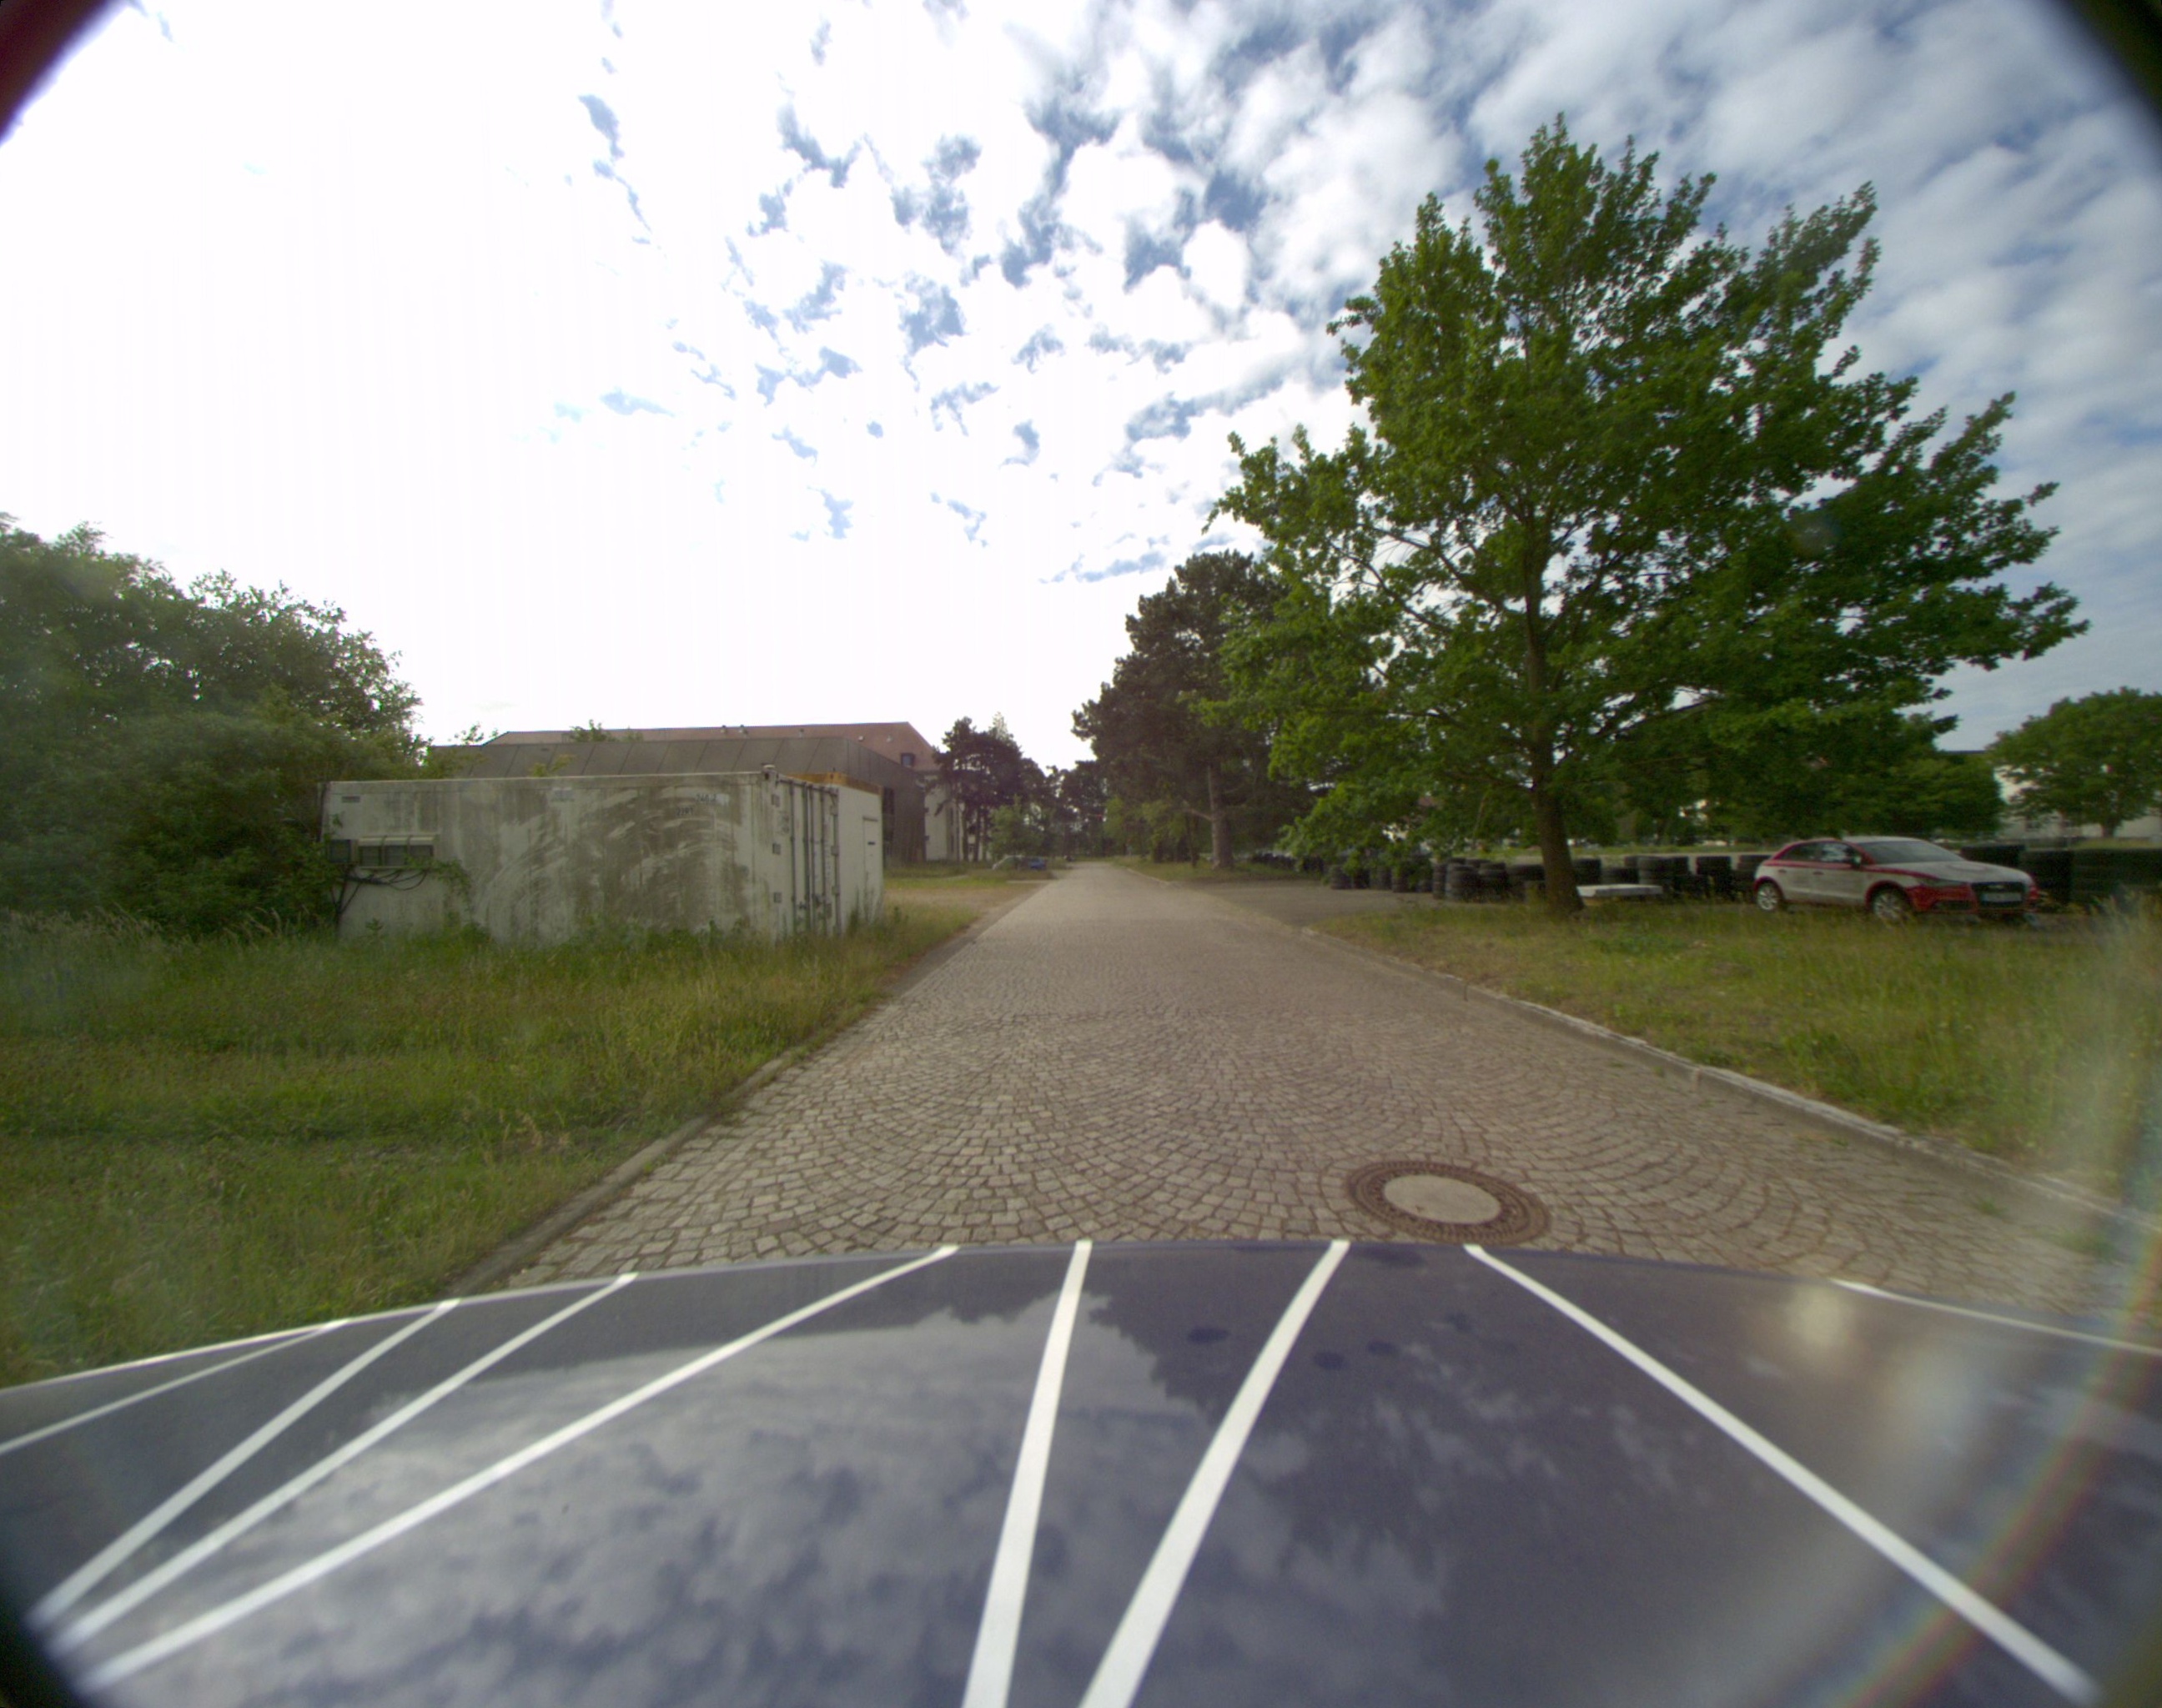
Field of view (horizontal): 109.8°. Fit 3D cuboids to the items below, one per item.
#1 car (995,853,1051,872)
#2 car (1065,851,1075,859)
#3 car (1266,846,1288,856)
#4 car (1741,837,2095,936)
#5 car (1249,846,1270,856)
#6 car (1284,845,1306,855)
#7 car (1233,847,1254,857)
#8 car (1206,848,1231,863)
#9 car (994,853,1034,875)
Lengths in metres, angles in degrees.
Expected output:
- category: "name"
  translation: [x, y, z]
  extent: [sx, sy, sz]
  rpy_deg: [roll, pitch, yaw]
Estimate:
- category: "car"
  translation: [-4.728, 0.687, 62.496]
  extent: [4.537, 1.441, 1.931]
  rpy_deg: [1, 0, -1]
- category: "car"
  translation: [-2.635, 0.255, 178.006]
  extent: [1.999, 1.777, 3.998]
  rpy_deg: [-1, 0, -5]
- category: "car"
  translation: [29.465, -0.473, 114.520]
  extent: [1.999, 1.441, 4.451]
  rpy_deg: [-1, 0, -3]
- category: "car"
  translation: [14.116, 0.476, 13.275]
  extent: [1.827, 1.423, 4.220]
  rpy_deg: [-1, 0, 6]
- category: "car"
  translation: [26.882, -0.395, 114.450]
  extent: [1.999, 1.441, 4.451]
  rpy_deg: [-1, 0, -3]
- category: "car"
  translation: [32.352, -0.568, 115.017]
  extent: [1.999, 1.441, 4.451]
  rpy_deg: [-1, 0, -3]
- category: "car"
  translation: [24.370, -0.312, 113.998]
  extent: [1.999, 1.441, 4.451]
  rpy_deg: [-1, 0, -3]
- category: "car"
  translation: [13.840, 0.129, 76.545]
  extent: [1.670, 1.402, 3.723]
  rpy_deg: [-1, 0, -2]
- category: "car"
  translation: [-4.847, 0.708, 55.209]
  extent: [2.748, 1.573, 1.682]
  rpy_deg: [1, 0, 1]
